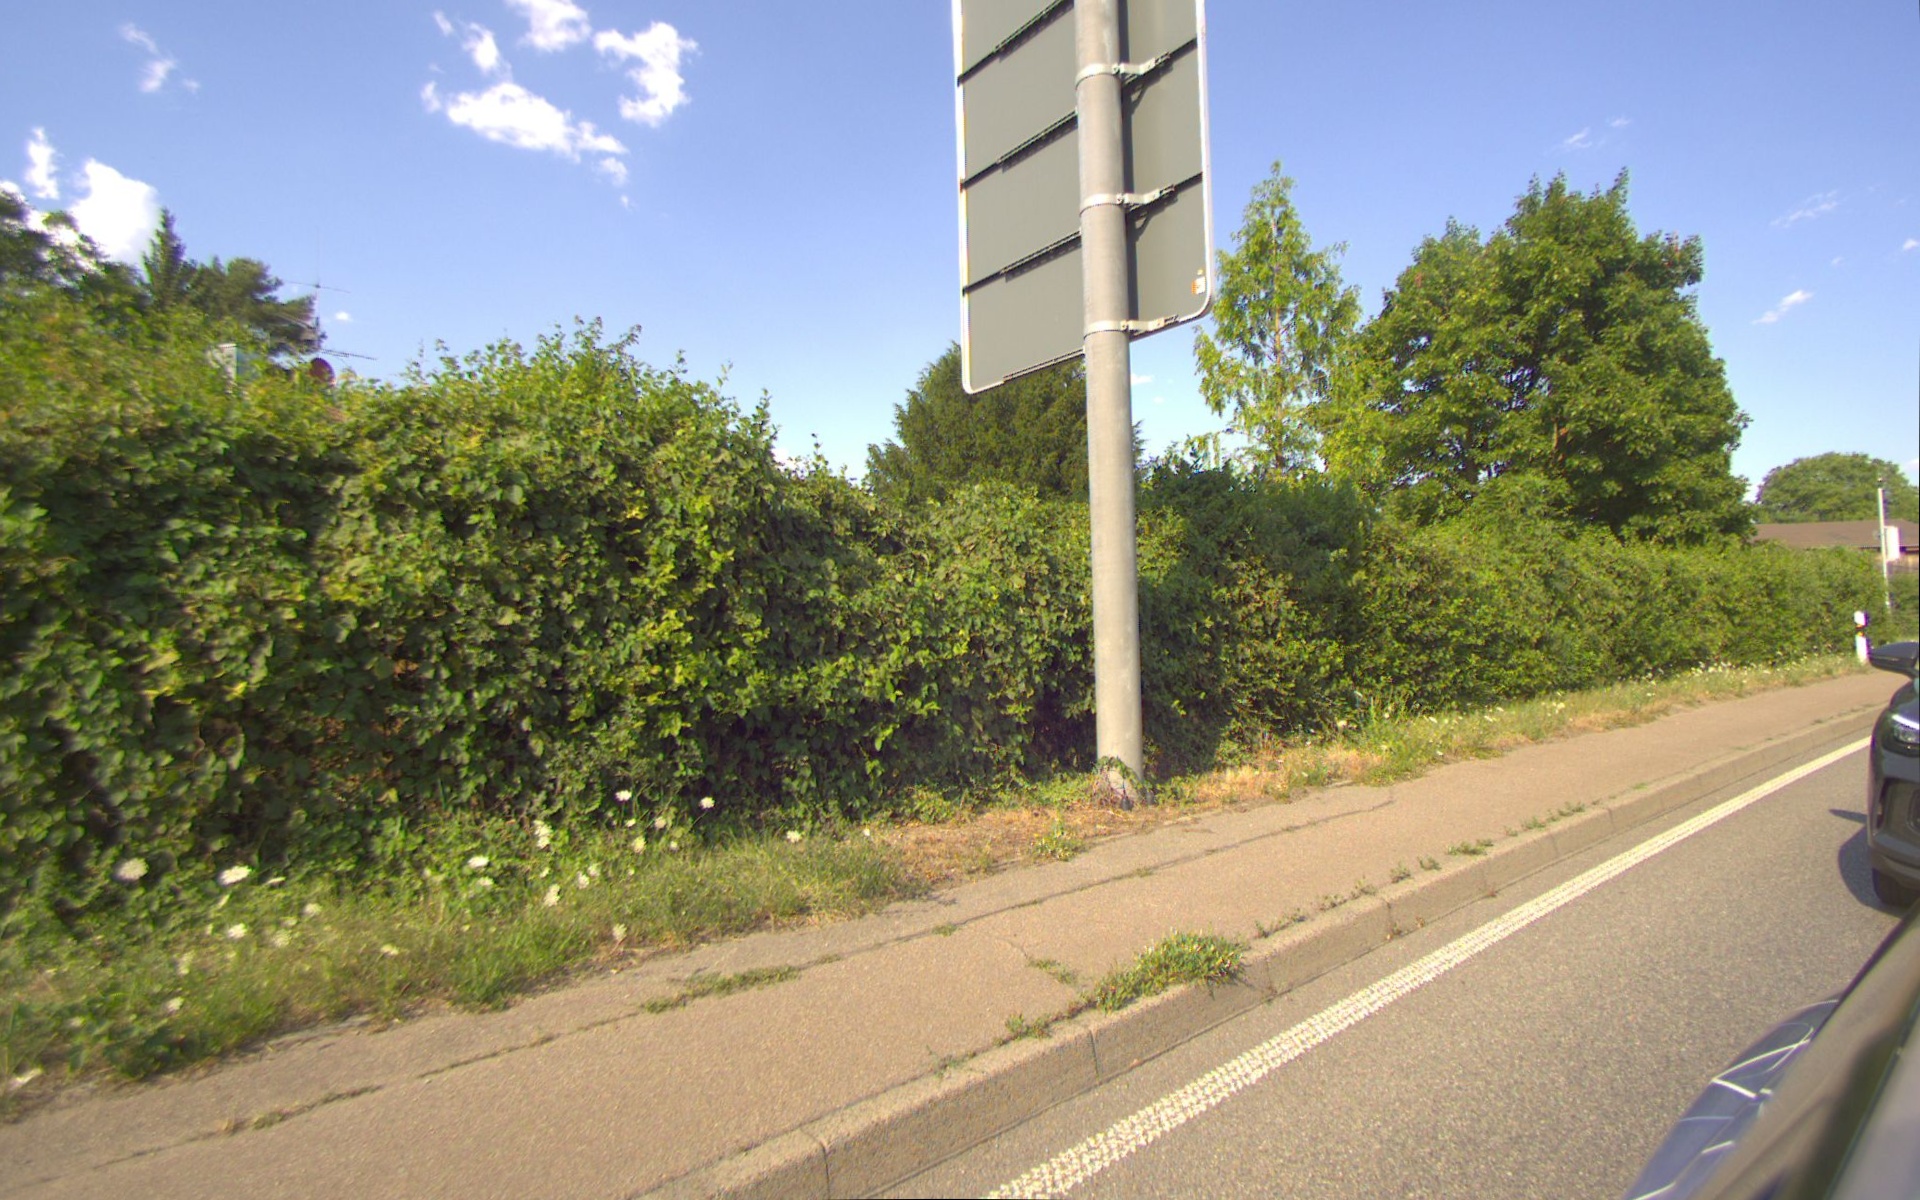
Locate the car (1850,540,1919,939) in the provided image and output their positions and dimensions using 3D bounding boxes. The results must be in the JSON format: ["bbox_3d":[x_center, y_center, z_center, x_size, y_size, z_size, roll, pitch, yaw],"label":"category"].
[{"bbox_3d":[5.940,0.552,4.948,3.931,1.662,1.864,-2,2,-41],"label":"car"}]
